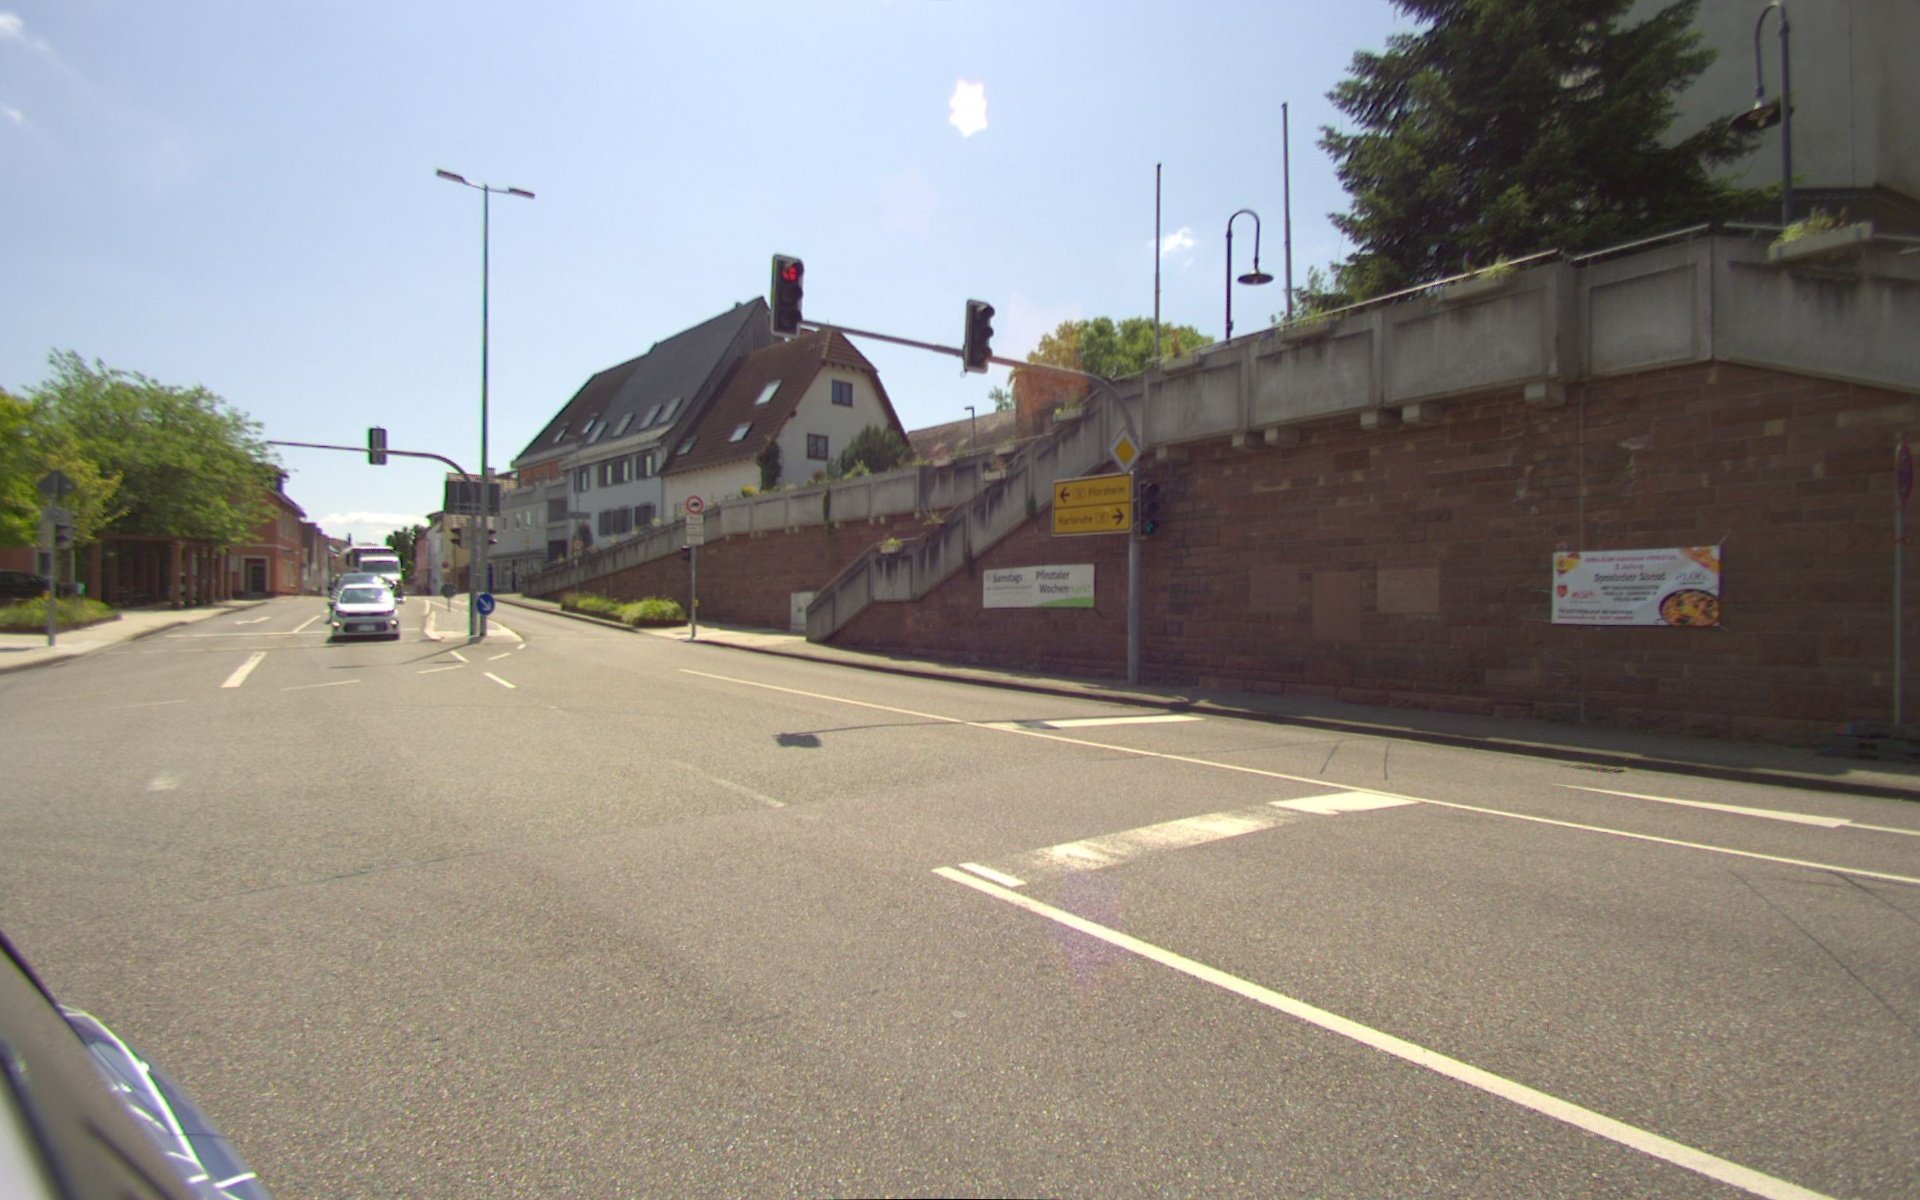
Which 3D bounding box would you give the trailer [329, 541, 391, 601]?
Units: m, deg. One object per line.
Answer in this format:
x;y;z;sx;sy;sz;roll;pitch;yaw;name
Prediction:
-40.089;-1.765;67.390;2.792;3.597;10.993;0;-1;-35;trailer

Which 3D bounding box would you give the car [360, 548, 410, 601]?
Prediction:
-30.123;-1.270;52.952;2.139;2.583;4.838;0;-1;-31;car

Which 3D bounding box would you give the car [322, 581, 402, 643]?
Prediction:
-16.741;0.309;28.243;1.697;1.562;4.315;-1;1;-33;car

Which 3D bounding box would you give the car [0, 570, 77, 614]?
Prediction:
-38.171;-0.329;40.800;3.701;1.723;1.729;-2;1;-36;car

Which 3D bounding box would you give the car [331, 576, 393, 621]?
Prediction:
-22.258;-0.074;37.789;1.696;1.562;4.317;-1;1;-27;car

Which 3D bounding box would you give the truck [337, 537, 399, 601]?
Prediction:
-36.138;-1.794;61.710;2.803;3.597;5.482;0;-1;-35;truck
